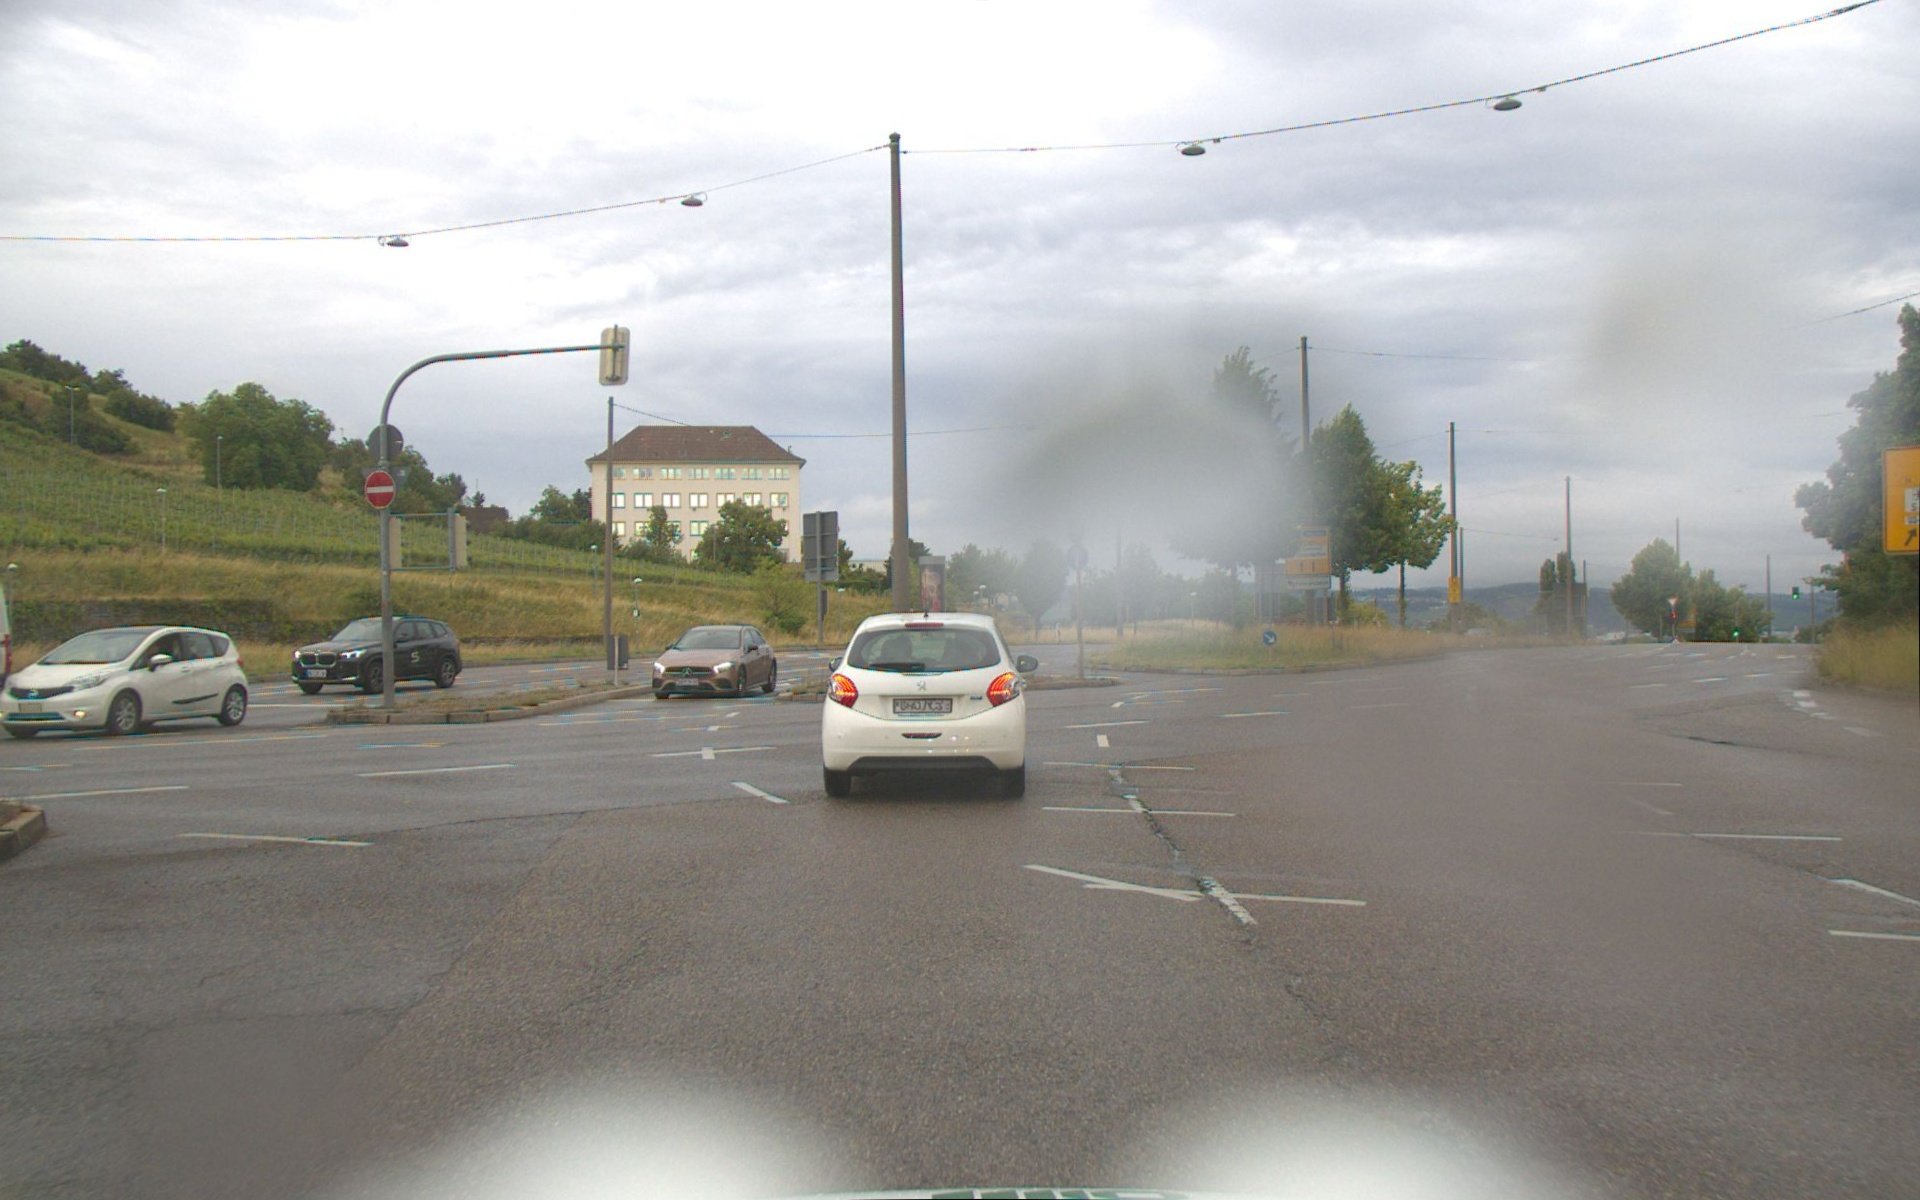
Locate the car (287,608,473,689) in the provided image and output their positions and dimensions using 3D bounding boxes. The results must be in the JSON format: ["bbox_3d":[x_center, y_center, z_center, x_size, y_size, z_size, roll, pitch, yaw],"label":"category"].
[{"bbox_3d":[-12.860,1.042,36.991,1.738,1.665,4.512,1,-1,13],"label":"car"}]

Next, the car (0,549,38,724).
[{"bbox_3d":[-15.553,0.527,22.460,1.951,2.604,6.174,-1,-1,8],"label":"car"}]

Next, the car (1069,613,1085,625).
[{"bbox_3d":[15.308,2.478,216.543,1.804,1.512,3.999,-1,0,-1],"label":"car"}]

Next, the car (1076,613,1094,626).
[{"bbox_3d":[15.735,2.416,208.148,1.804,1.512,3.999,-1,0,-1],"label":"car"}]

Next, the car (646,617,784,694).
[{"bbox_3d":[-4.964,1.095,34.131,1.738,1.450,4.377,-1,-1,6],"label":"car"}]

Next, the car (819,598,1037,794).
[{"bbox_3d":[-0.206,0.759,14.803,1.682,1.515,4.000,0,0,1],"label":"car"}]

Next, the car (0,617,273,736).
[{"bbox_3d":[-11.935,1.029,23.915,1.713,1.539,4.003,1,-1,12],"label":"car"}]
